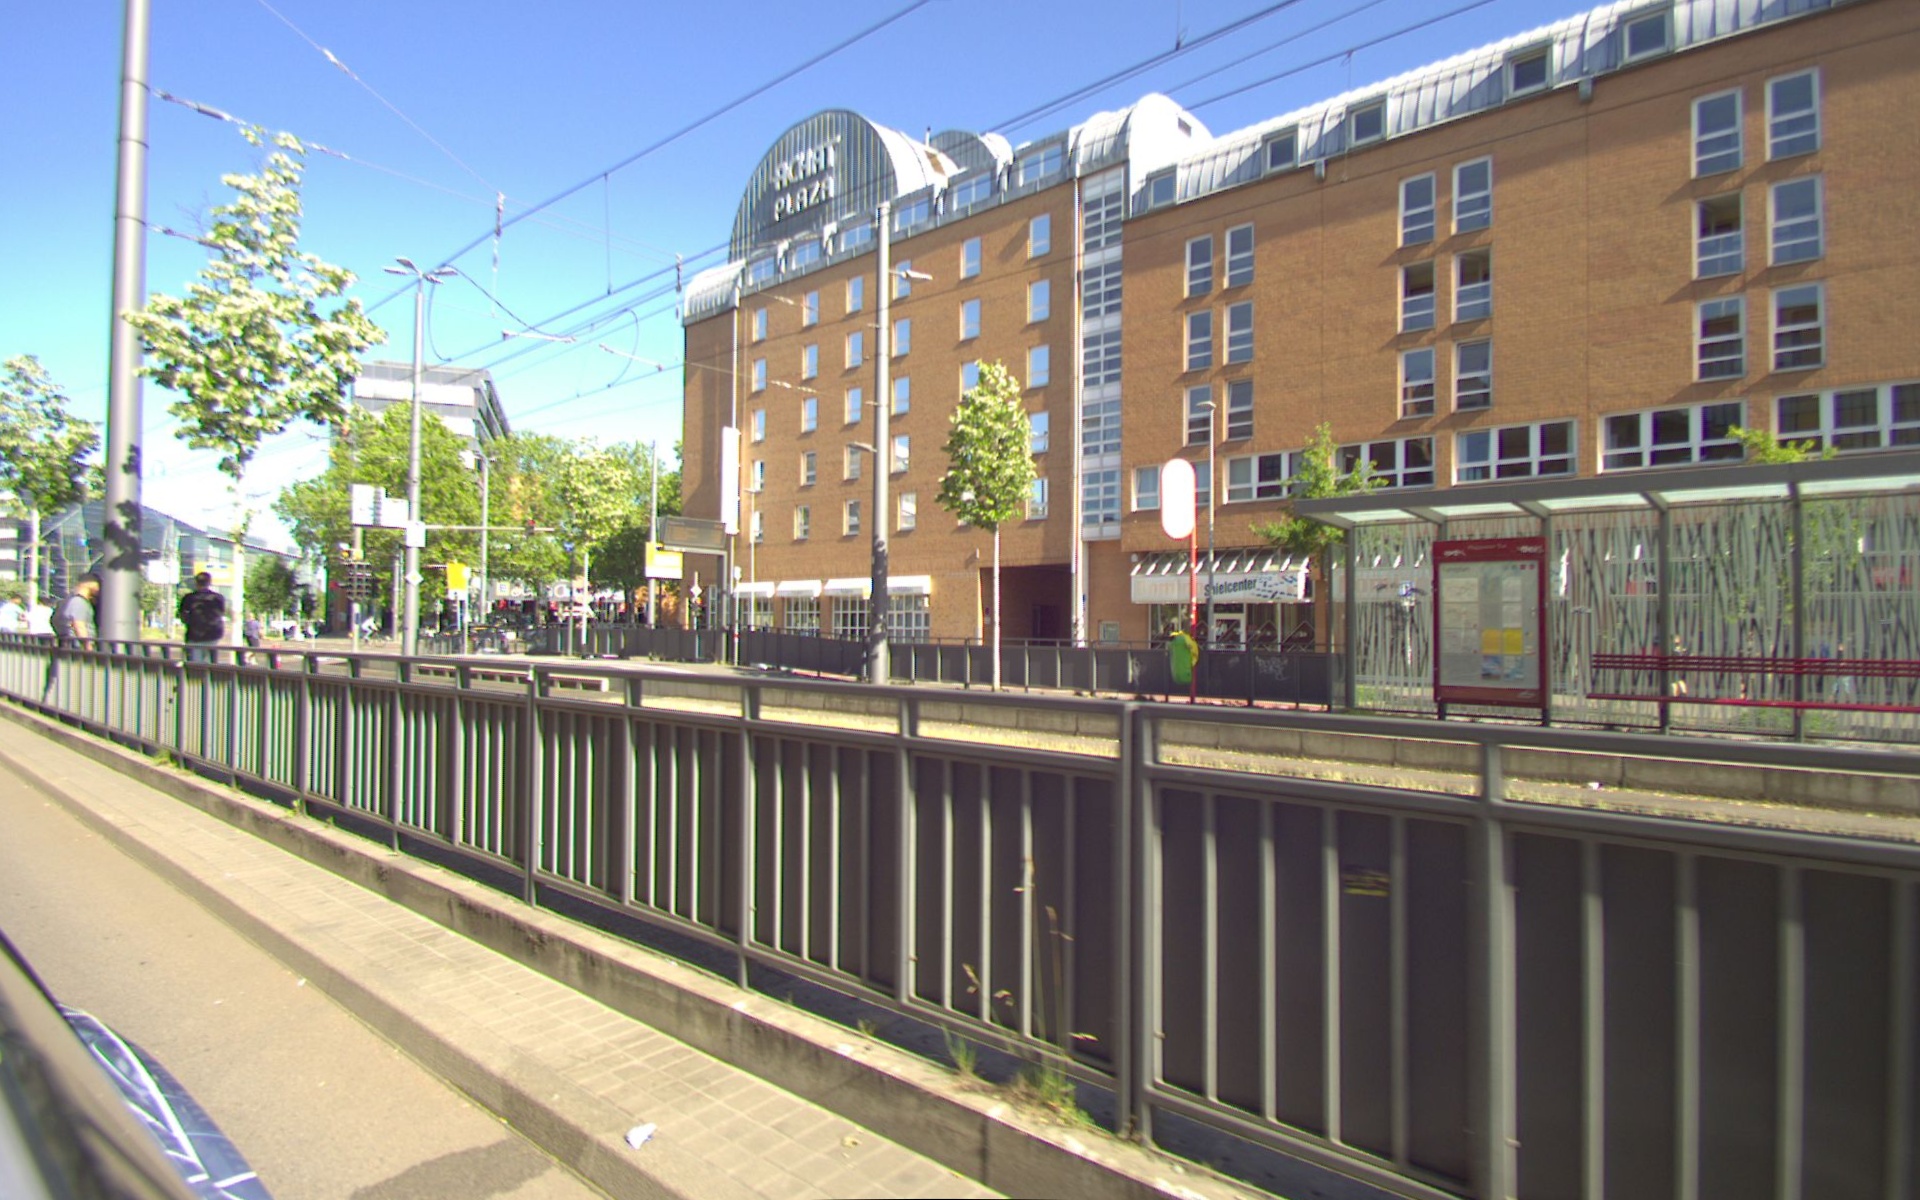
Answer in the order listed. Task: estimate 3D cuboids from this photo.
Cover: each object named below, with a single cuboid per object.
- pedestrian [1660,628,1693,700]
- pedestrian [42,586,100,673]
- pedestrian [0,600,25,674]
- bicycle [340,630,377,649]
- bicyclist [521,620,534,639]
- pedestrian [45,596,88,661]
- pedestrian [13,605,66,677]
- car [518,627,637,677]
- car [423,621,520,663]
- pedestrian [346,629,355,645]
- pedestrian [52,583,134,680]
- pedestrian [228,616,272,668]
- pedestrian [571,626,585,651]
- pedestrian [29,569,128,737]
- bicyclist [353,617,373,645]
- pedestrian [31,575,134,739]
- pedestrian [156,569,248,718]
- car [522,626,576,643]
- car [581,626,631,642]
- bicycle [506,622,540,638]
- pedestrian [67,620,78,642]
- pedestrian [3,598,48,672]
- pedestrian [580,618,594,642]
[{"bbox_3d":[18.778,1.655,26.531,0.644,1.854,0.614,-1,-3,40],"label":"pedestrian"},{"bbox_3d":[-19.020,0.632,21.653,0.839,1.825,0.746,-1,-2,37],"label":"pedestrian"},{"bbox_3d":[-23.181,0.896,24.477,0.819,1.757,0.641,-1,-2,38],"label":"pedestrian"},{"bbox_3d":[-35.554,2.333,59.833,1.812,1.108,0.639,2,-2,-40],"label":"bicycle"},{"bbox_3d":[-41.833,2.837,97.840,0.913,1.822,0.862,2,-3,-43],"label":"bicyclist"},{"bbox_3d":[-22.437,0.715,25.416,0.907,1.581,0.602,-1,-2,38],"label":"pedestrian"},{"bbox_3d":[-21.323,0.934,23.454,0.774,1.631,0.746,-1,-2,37],"label":"pedestrian"},{"bbox_3d":[-12.585,1.652,33.165,4.288,1.510,1.911,-1,-2,42],"label":"car"},{"bbox_3d":[-18.873,1.582,39.022,4.288,1.510,1.911,-1,-2,42],"label":"car"},{"bbox_3d":[-55.750,3.376,92.550,0.653,1.408,0.673,2,-2,-37],"label":"pedestrian"},{"bbox_3d":[-16.963,0.608,19.803,1.021,1.825,0.982,-1,-2,37],"label":"pedestrian"},{"bbox_3d":[-23.659,1.399,33.724,1.007,1.702,0.947,-1,-3,43],"label":"pedestrian"},{"bbox_3d":[-26.046,2.640,69.048,0.636,1.719,0.728,2,-3,-45],"label":"pedestrian"},{"bbox_3d":[-10.387,0.609,11.929,0.715,1.899,0.738,-1,-2,41],"label":"pedestrian"},{"bbox_3d":[-35.391,1.829,60.019,0.836,1.652,0.780,2,-2,-41],"label":"bicyclist"},{"bbox_3d":[-9.881,0.622,11.402,0.715,1.762,0.738,-1,-2,41],"label":"pedestrian"},{"bbox_3d":[-9.257,0.519,12.358,0.751,1.736,0.701,-1,-2,40],"label":"pedestrian"},{"bbox_3d":[-36.830,3.081,90.716,1.910,1.519,4.113,-1,-2,43],"label":"car"},{"bbox_3d":[-32.989,3.167,94.447,1.910,1.519,3.942,-1,-2,43],"label":"car"},{"bbox_3d":[-42.153,2.897,97.591,2.805,1.548,0.905,2,-3,-43],"label":"bicycle"},{"bbox_3d":[-65.554,2.307,74.752,0.572,1.647,0.549,2,-2,-37],"label":"pedestrian"},{"bbox_3d":[-22.958,0.852,24.856,0.819,1.787,0.641,-1,-2,38],"label":"pedestrian"},{"bbox_3d":[-25.958,2.084,70.469,0.636,1.622,0.728,2,-3,-45],"label":"pedestrian"}]
